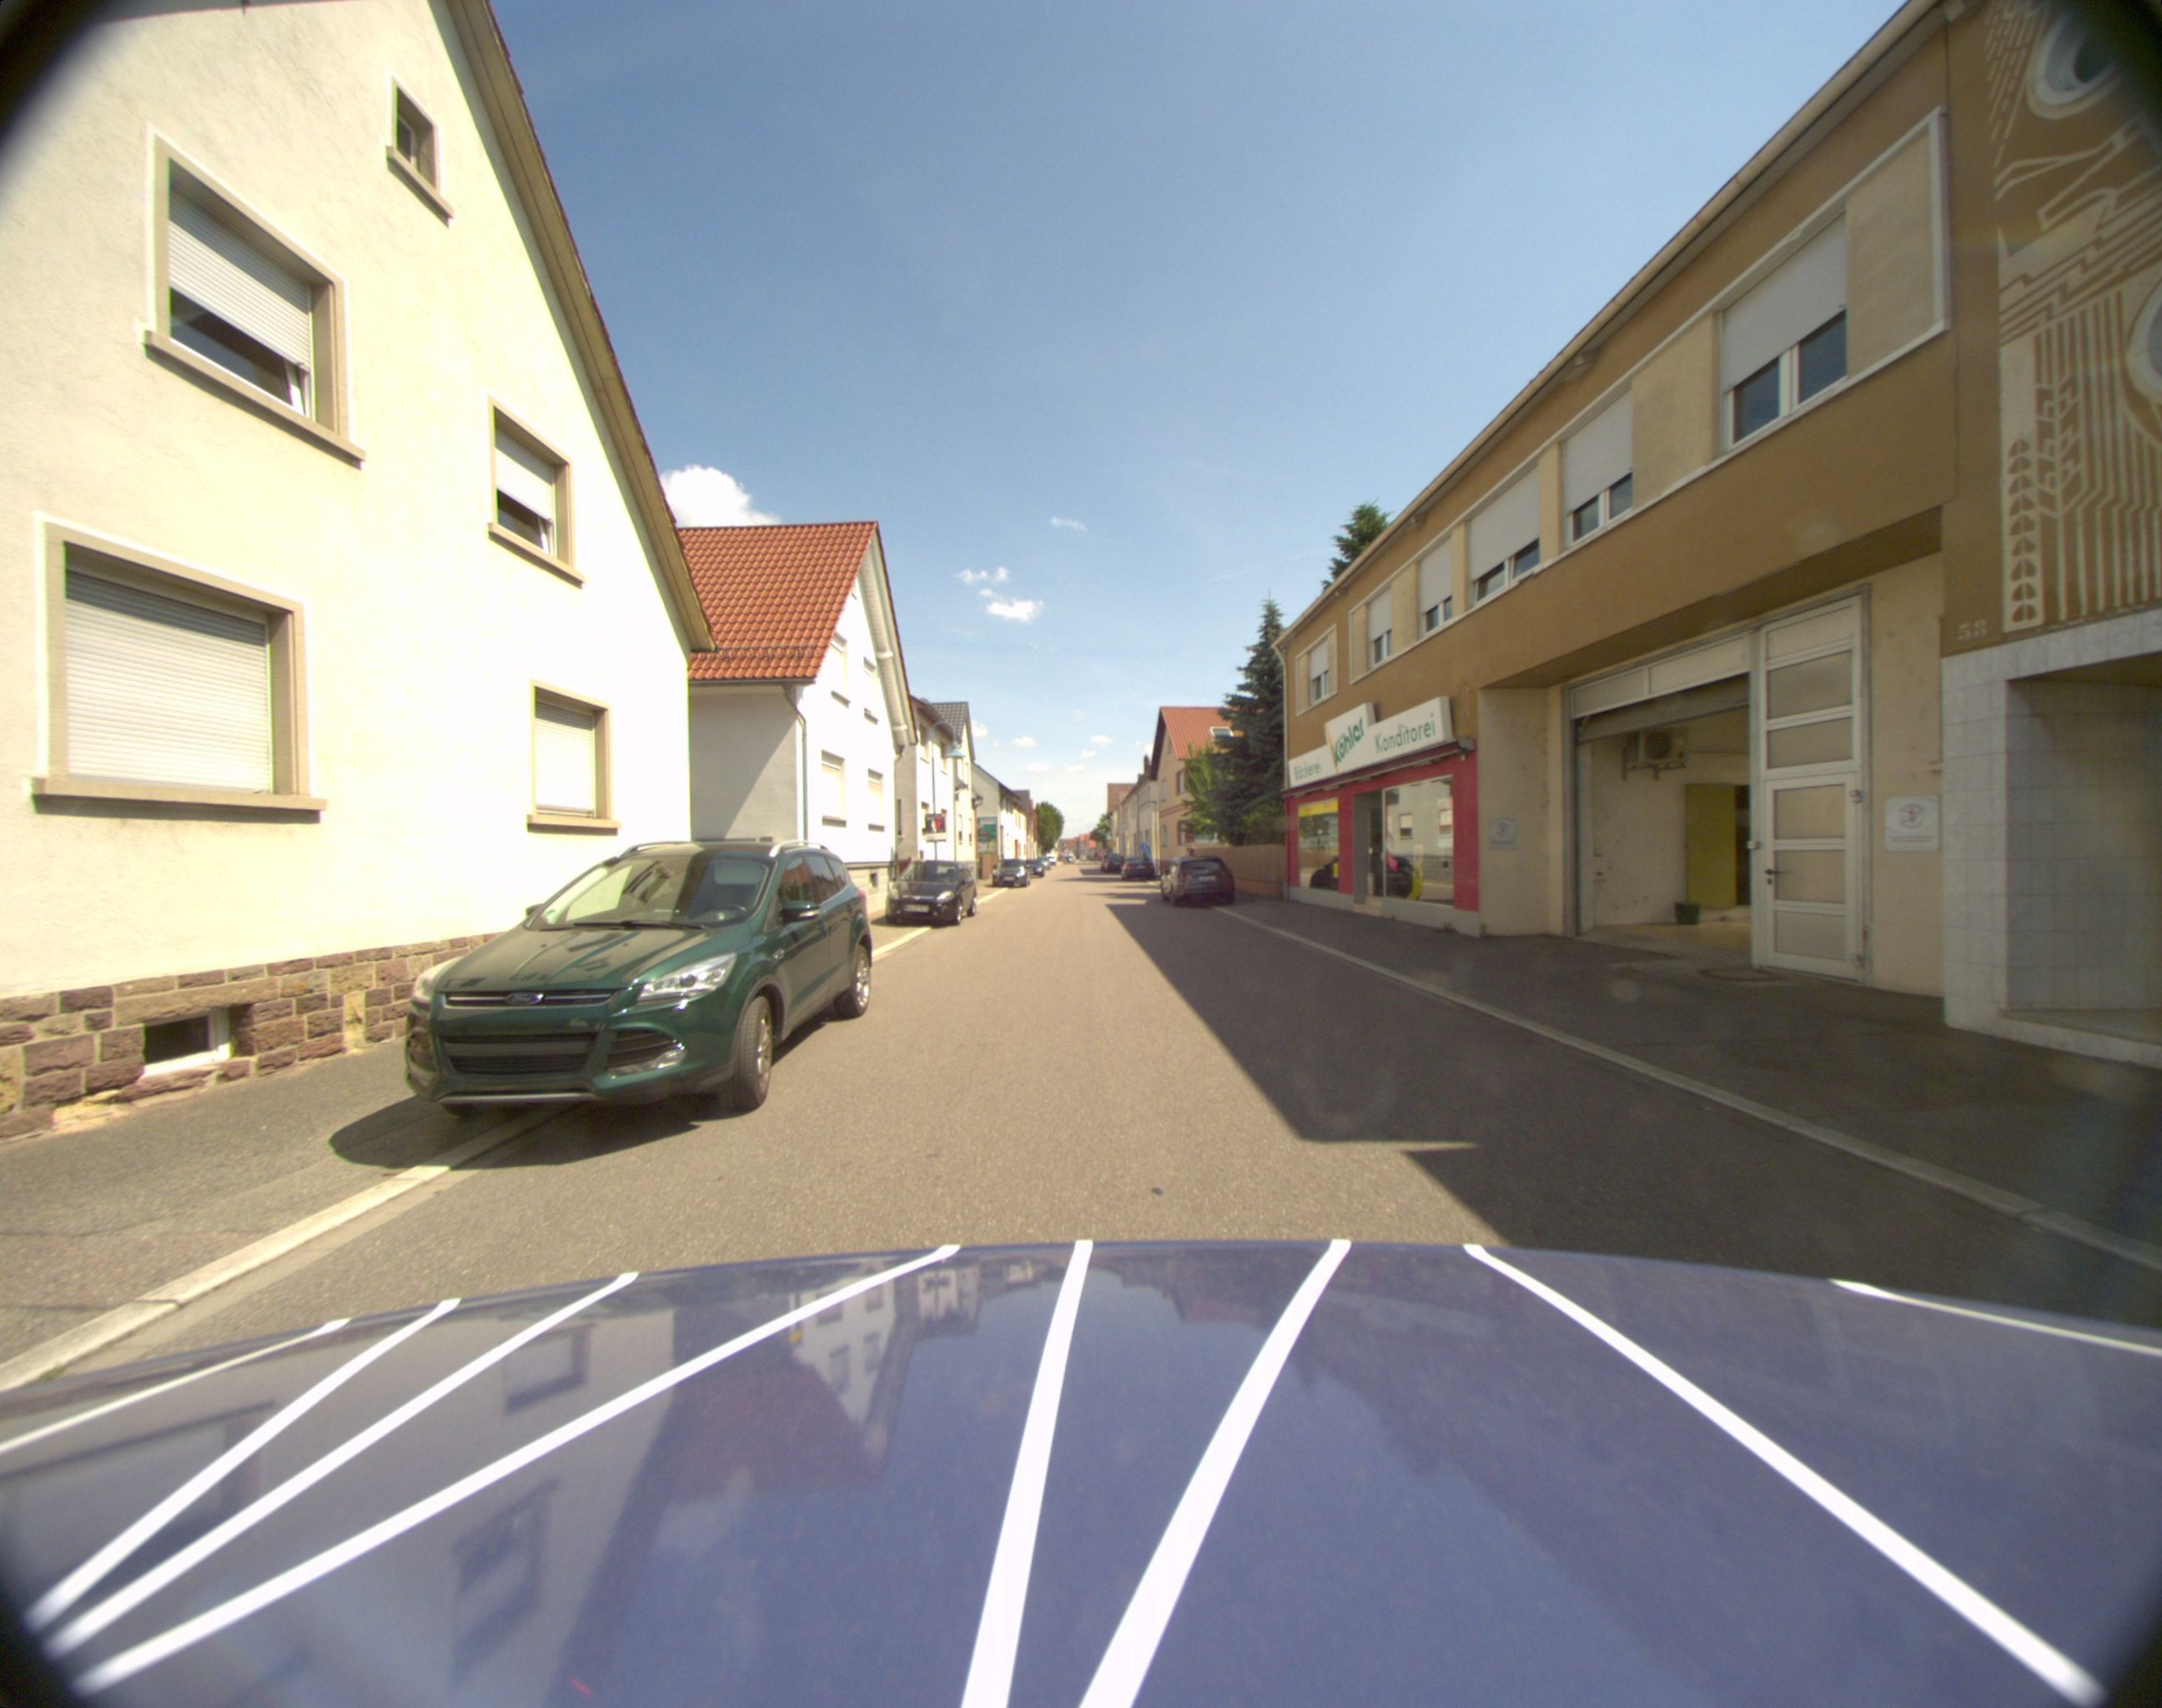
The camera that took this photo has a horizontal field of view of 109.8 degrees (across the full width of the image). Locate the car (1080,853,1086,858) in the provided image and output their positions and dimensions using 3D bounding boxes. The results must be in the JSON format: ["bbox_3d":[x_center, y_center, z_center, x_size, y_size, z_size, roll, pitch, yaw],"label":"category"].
[{"bbox_3d":[0.684,0.477,214.123,1.598,1.385,4.168,-2,0,-1],"label":"car"}]

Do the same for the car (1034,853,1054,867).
[{"bbox_3d":[-4.049,0.664,83.349,1.725,1.473,3.750,2,0,3],"label":"car"}]

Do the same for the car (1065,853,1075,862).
[{"bbox_3d":[-2.175,0.715,146.298,1.598,1.533,4.200,-3,1,2],"label":"car"}]

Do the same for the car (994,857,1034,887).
[{"bbox_3d":[-3.315,0.865,38.286,1.693,1.414,3.656,-1,0,0],"label":"car"}]

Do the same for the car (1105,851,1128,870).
[{"bbox_3d":[3.178,0.581,69.083,1.722,1.630,4.148,0,0,-2],"label":"car"}]

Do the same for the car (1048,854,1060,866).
[{"bbox_3d":[-4.295,0.921,120.177,1.692,1.831,4.763,1,0,0],"label":"car"}]

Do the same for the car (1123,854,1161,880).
[{"bbox_3d":[3.522,0.732,44.382,1.766,1.366,4.065,-2,0,-1],"label":"car"}]

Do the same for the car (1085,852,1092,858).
[{"bbox_3d":[2.085,0.301,198.155,1.726,1.385,4.170,-2,-2,1],"label":"car"}]

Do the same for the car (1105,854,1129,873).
[{"bbox_3d":[2.926,0.738,62.357,1.702,1.403,4.389,-2,0,0],"label":"car"}]

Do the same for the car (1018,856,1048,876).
[{"bbox_3d":[-3.432,0.850,54.948,1.820,1.268,4.146,-1,0,0],"label":"car"}]

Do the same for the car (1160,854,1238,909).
[{"bbox_3d":[3.537,0.772,23.514,1.772,1.451,4.436,-1,0,1],"label":"car"}]

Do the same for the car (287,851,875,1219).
[{"bbox_3d":[-2.955,0.853,5.776,1.733,1.707,4.274,-1,0,-3],"label":"car"}]

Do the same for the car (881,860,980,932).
[{"bbox_3d":[-3.543,0.924,18.516,1.621,1.487,3.971,1,0,-1],"label":"car"}]

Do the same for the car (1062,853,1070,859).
[{"bbox_3d":[-3.692,0.472,184.674,1.848,1.385,4.169,-1,-2,-3],"label":"car"}]
